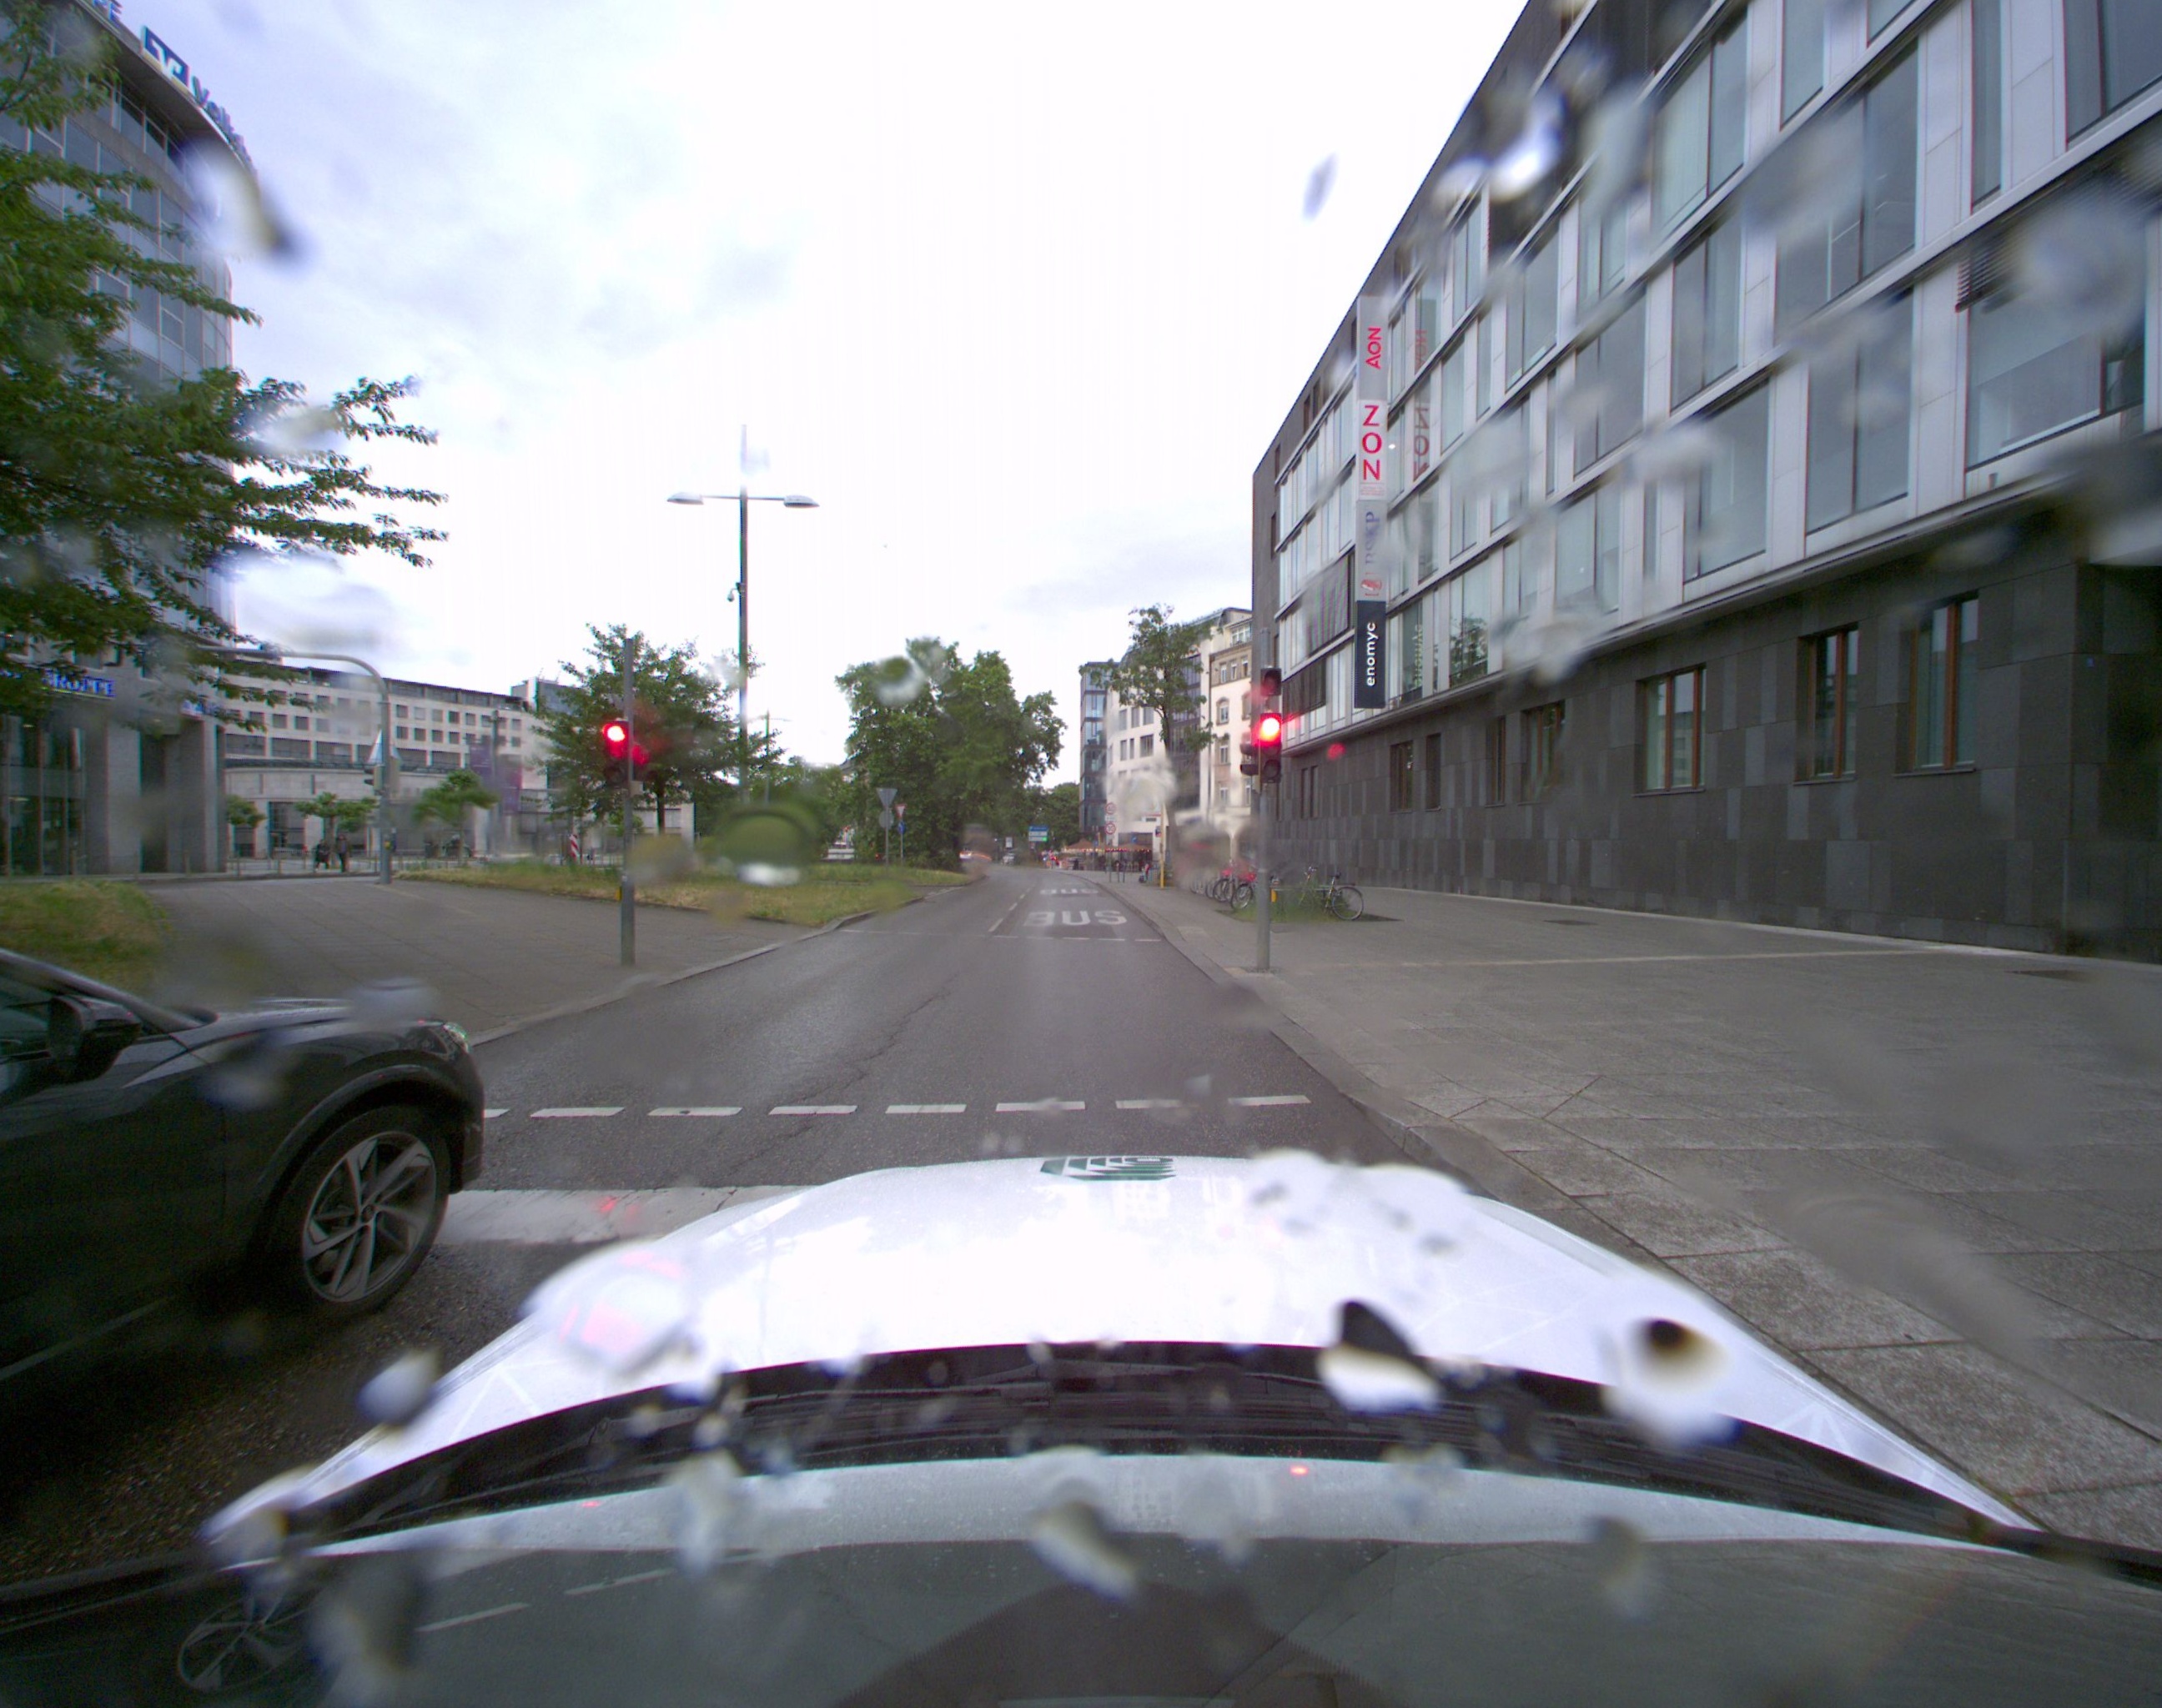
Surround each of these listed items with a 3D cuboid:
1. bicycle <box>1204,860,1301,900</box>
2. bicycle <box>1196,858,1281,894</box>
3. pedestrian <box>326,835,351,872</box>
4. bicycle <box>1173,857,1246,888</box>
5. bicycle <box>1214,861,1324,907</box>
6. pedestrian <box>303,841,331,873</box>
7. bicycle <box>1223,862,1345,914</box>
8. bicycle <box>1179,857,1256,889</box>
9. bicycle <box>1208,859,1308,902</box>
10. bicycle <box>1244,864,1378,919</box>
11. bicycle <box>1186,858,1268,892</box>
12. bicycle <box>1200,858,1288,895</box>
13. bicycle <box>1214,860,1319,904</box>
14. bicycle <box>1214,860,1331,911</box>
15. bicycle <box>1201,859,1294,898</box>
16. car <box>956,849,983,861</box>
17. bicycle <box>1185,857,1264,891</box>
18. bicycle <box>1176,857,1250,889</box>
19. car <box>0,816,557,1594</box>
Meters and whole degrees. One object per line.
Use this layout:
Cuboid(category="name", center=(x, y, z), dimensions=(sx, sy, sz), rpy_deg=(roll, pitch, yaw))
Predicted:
Cuboid(category="bicycle", center=(4.723, 0.701, 22.512), dimensions=(2.530, 1.060, 0.677), rpy_deg=(-1, 0, -3))
Cuboid(category="bicycle", center=(4.931, 0.670, 25.594), dimensions=(2.530, 1.087, 0.677), rpy_deg=(-1, 0, -3))
Cuboid(category="pedestrian", center=(-36.395, -0.026, 39.918), dimensions=(0.622, 1.763, 0.721), rpy_deg=(-2, 0, -20))
Cuboid(category="bicycle", center=(4.647, 0.667, 29.553), dimensions=(2.530, 1.087, 0.627), rpy_deg=(-1, 0, -3))
Cuboid(category="bicycle", center=(4.594, 0.723, 19.982), dimensions=(2.530, 1.087, 0.677), rpy_deg=(-1, 0, -3))
Cuboid(category="pedestrian", center=(-37.273, 0.139, 39.718), dimensions=(0.730, 1.516, 0.687), rpy_deg=(-2, 0, -18))
Cuboid(category="bicycle", center=(4.448, 0.739, 17.955), dimensions=(2.530, 1.087, 0.677), rpy_deg=(0, 0, -3))
Cuboid(category="bicycle", center=(4.682, 0.644, 28.082), dimensions=(2.530, 1.087, 0.677), rpy_deg=(-1, 0, -3))
Cuboid(category="bicycle", center=(4.690, 0.699, 21.646), dimensions=(2.530, 1.087, 0.677), rpy_deg=(-1, 0, -3))
Cuboid(category="bicycle", center=(4.627, 0.747, 16.472), dimensions=(2.530, 1.057, 0.677), rpy_deg=(0, 0, -3))
Cuboid(category="bicycle", center=(4.719, 0.671, 26.439), dimensions=(2.530, 1.087, 0.677), rpy_deg=(-1, 0, -3))
Cuboid(category="bicycle", center=(4.911, 0.671, 24.615), dimensions=(2.530, 1.087, 0.677), rpy_deg=(-1, 0, -3))
Cuboid(category="bicycle", center=(4.720, 0.703, 20.834), dimensions=(2.530, 1.087, 0.677), rpy_deg=(-1, 0, -3))
Cuboid(category="bicycle", center=(4.397, 0.721, 18.760), dimensions=(2.530, 1.087, 0.677), rpy_deg=(2, 0, -3))
Cuboid(category="bicycle", center=(4.781, 0.686, 23.421), dimensions=(2.530, 1.087, 0.677), rpy_deg=(-1, 0, -3))
Cuboid(category="car", center=(-16.175, 0.178, 118.703), dimensions=(2.160, 1.700, 4.022), rpy_deg=(0, 0, 23))
Cuboid(category="bicycle", center=(4.777, 0.655, 27.190), dimensions=(2.530, 1.087, 0.677), rpy_deg=(-1, 0, -3))
Cuboid(category="bicycle", center=(4.659, 0.657, 28.830), dimensions=(2.530, 1.087, 0.677), rpy_deg=(-1, 0, -3))
Cuboid(category="car", center=(-3.151, 0.720, 1.338), dimensions=(1.842, 1.616, 4.251), rpy_deg=(1, 1, -1))
